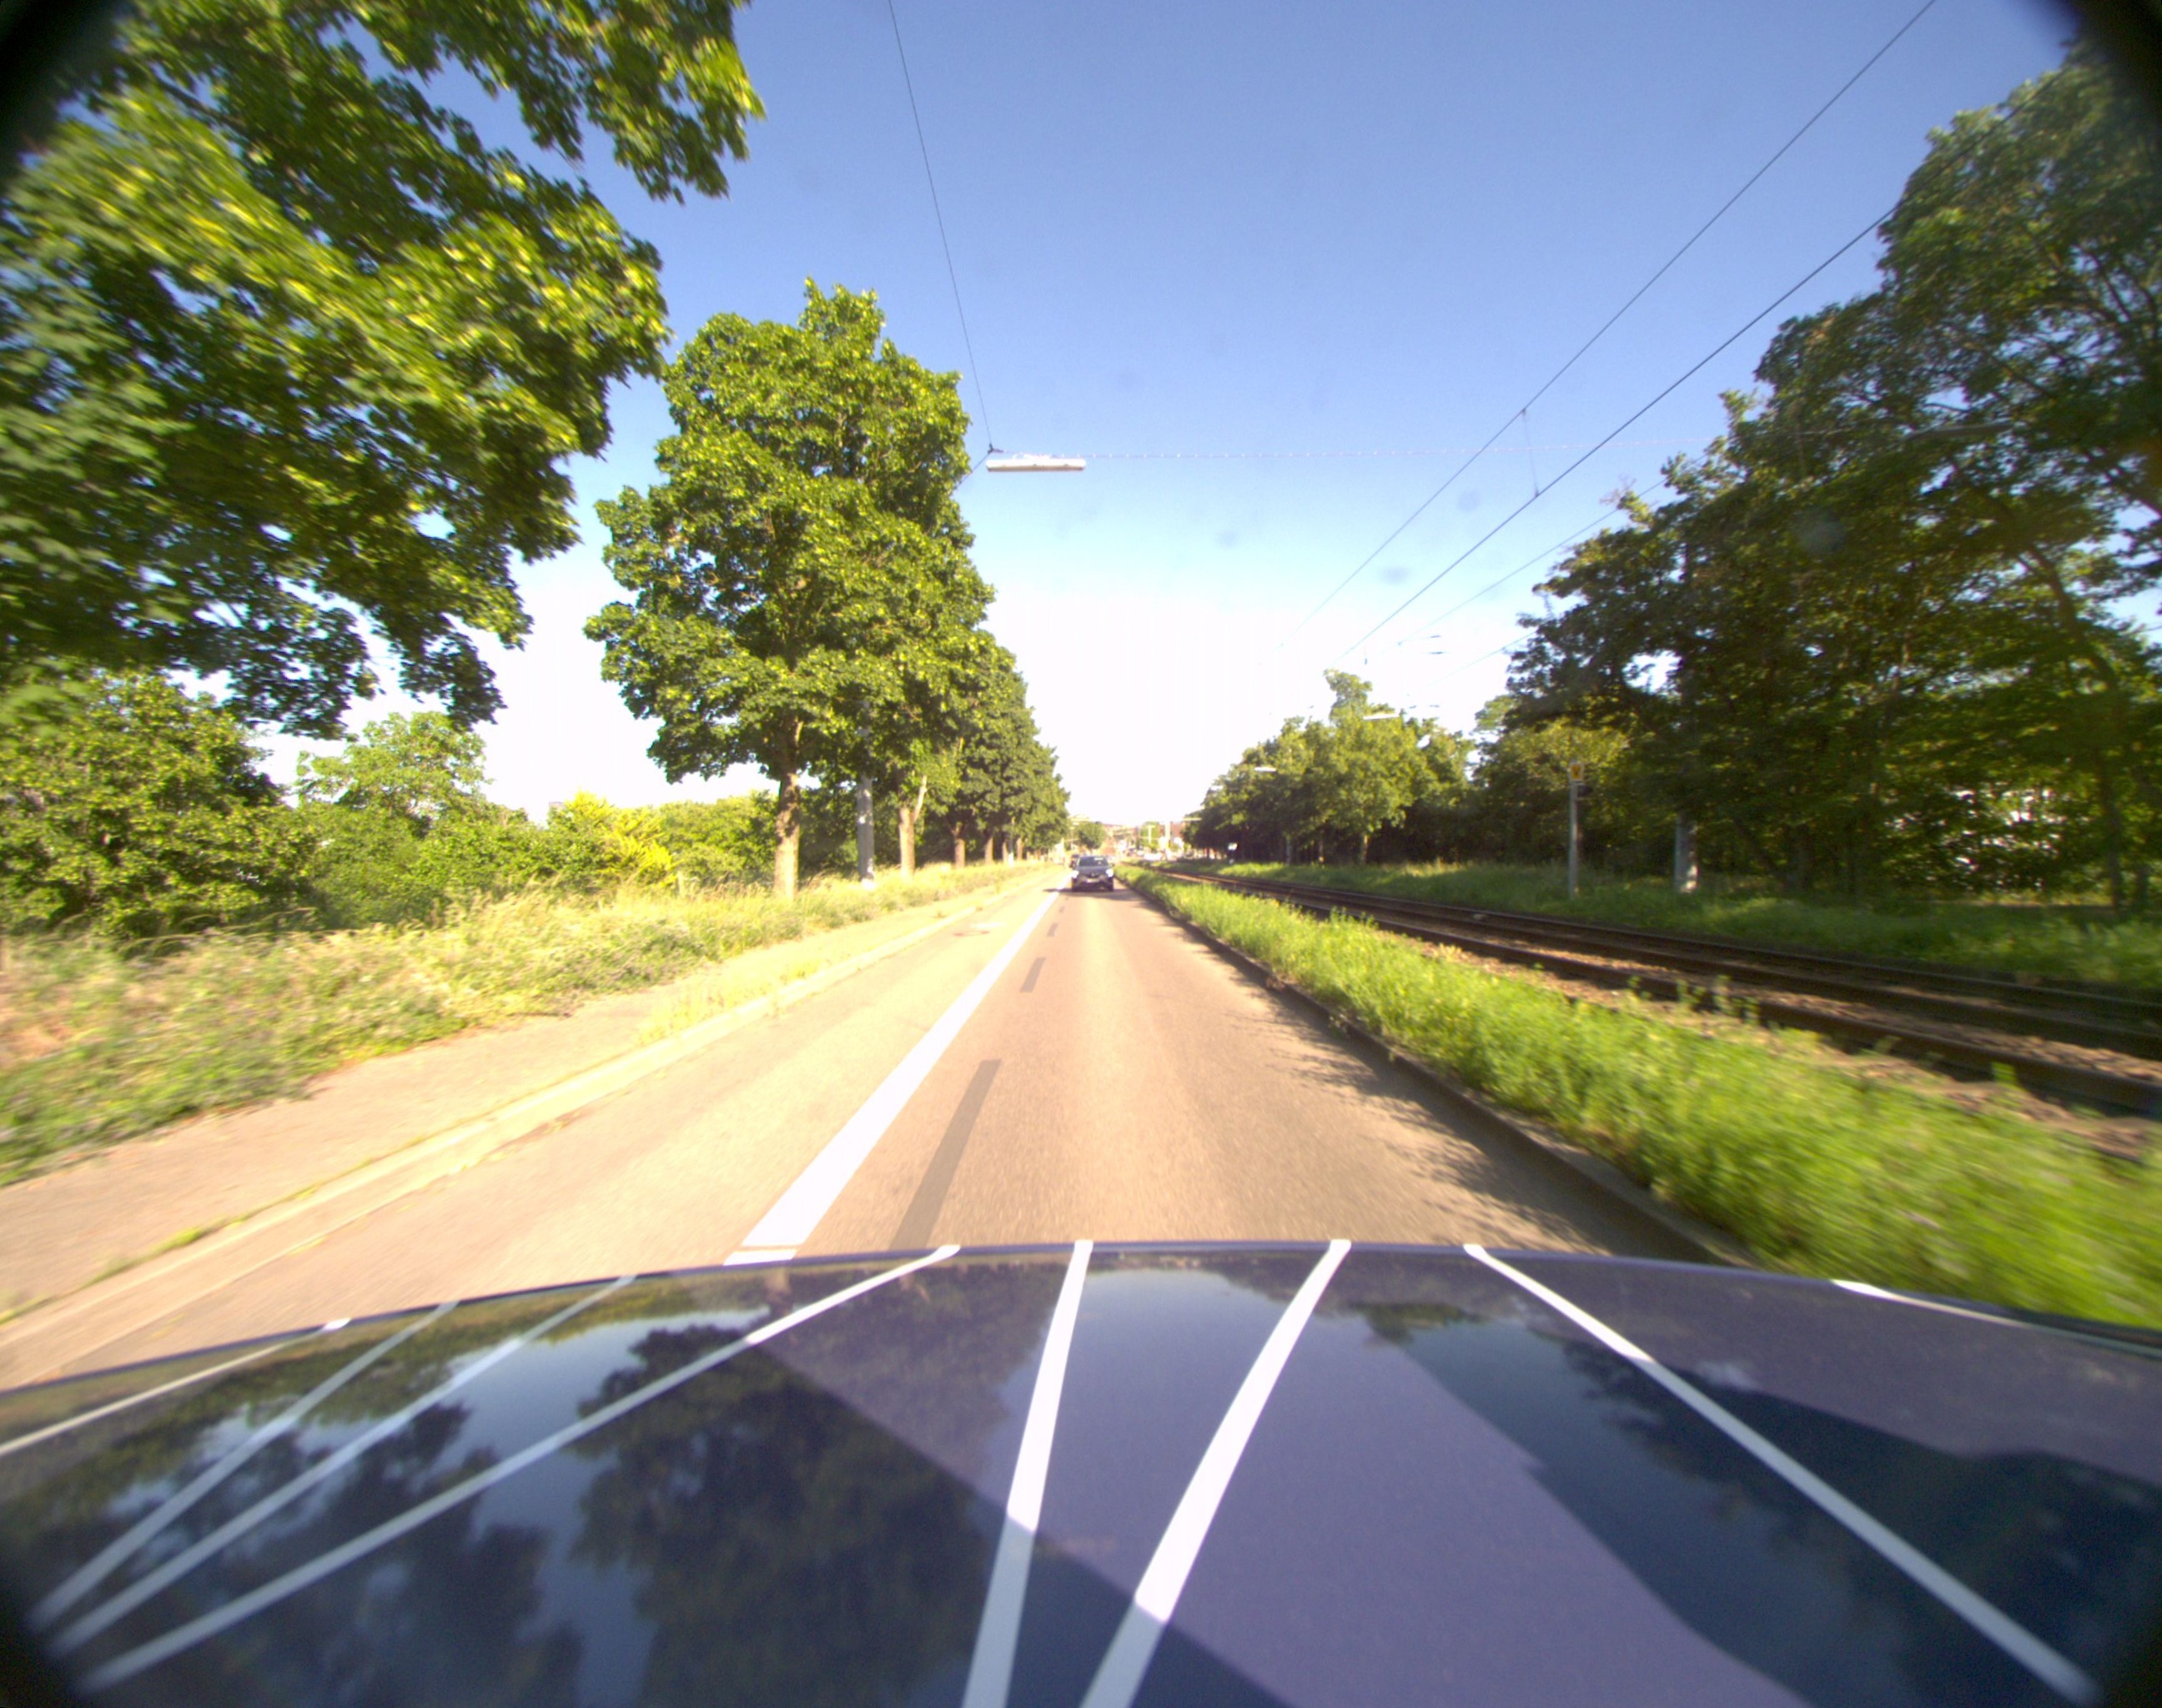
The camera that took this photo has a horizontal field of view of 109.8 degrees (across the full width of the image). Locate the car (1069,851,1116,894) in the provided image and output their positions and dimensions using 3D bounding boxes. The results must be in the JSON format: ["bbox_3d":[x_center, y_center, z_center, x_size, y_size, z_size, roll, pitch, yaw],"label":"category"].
[{"bbox_3d":[0.502,0.736,32.483,1.814,1.625,4.709,-1,1,1],"label":"car"}]

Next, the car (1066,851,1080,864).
[{"bbox_3d":[-1.064,0.455,102.220,1.814,1.625,4.128,-2,1,1],"label":"car"}]
